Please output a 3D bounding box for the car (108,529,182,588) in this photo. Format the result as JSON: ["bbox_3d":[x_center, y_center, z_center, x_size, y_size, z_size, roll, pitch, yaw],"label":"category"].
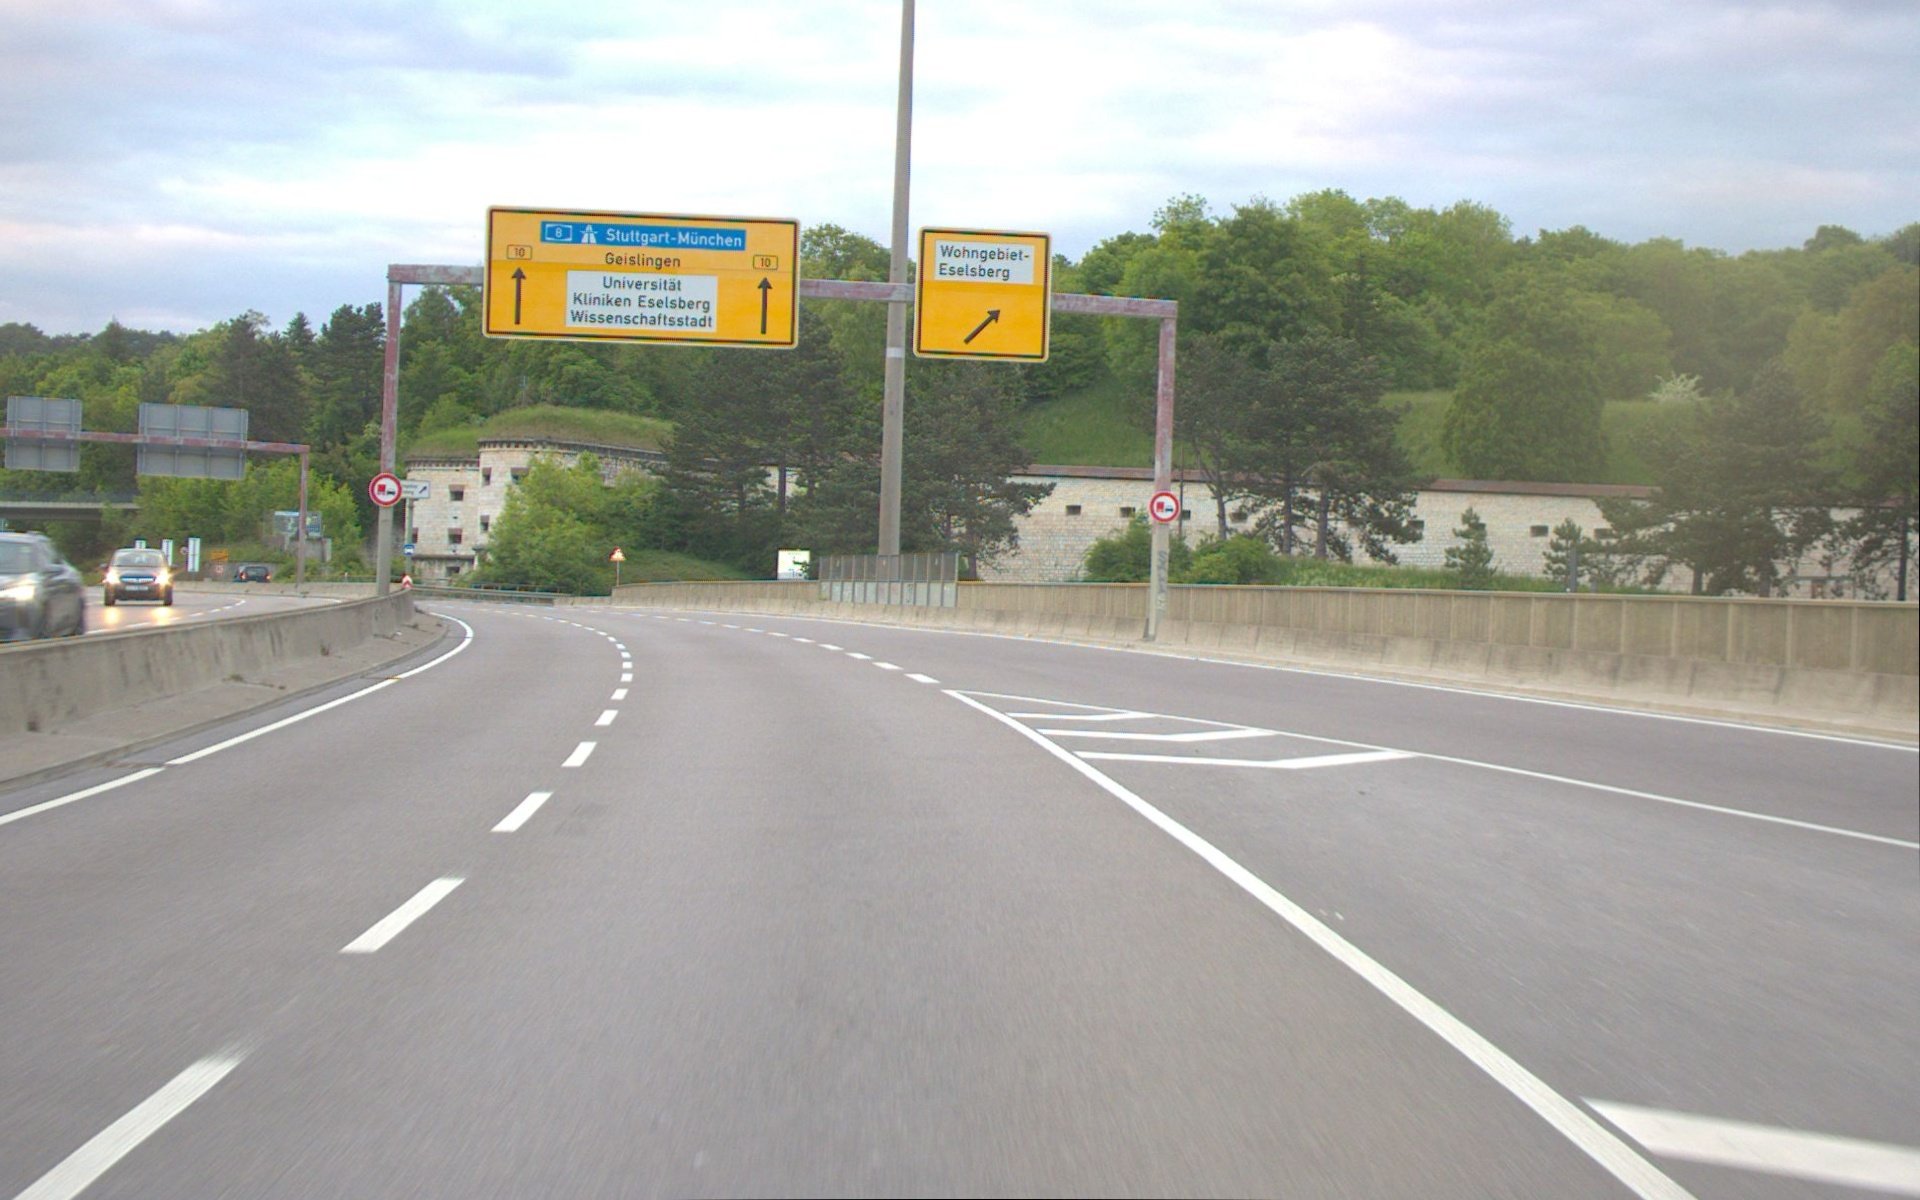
[{"bbox_3d":[-21.072,-1.074,88.941,1.730,1.471,4.225,1,0,-12],"label":"car"}]

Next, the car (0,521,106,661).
[{"bbox_3d":[-11.250,-0.137,39.987,1.811,1.529,4.547,1,0,-5],"label":"car"}]

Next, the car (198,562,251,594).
[{"bbox_3d":[-44.580,-1.322,208.384,1.993,1.832,4.000,2,-1,-30],"label":"car"}]
